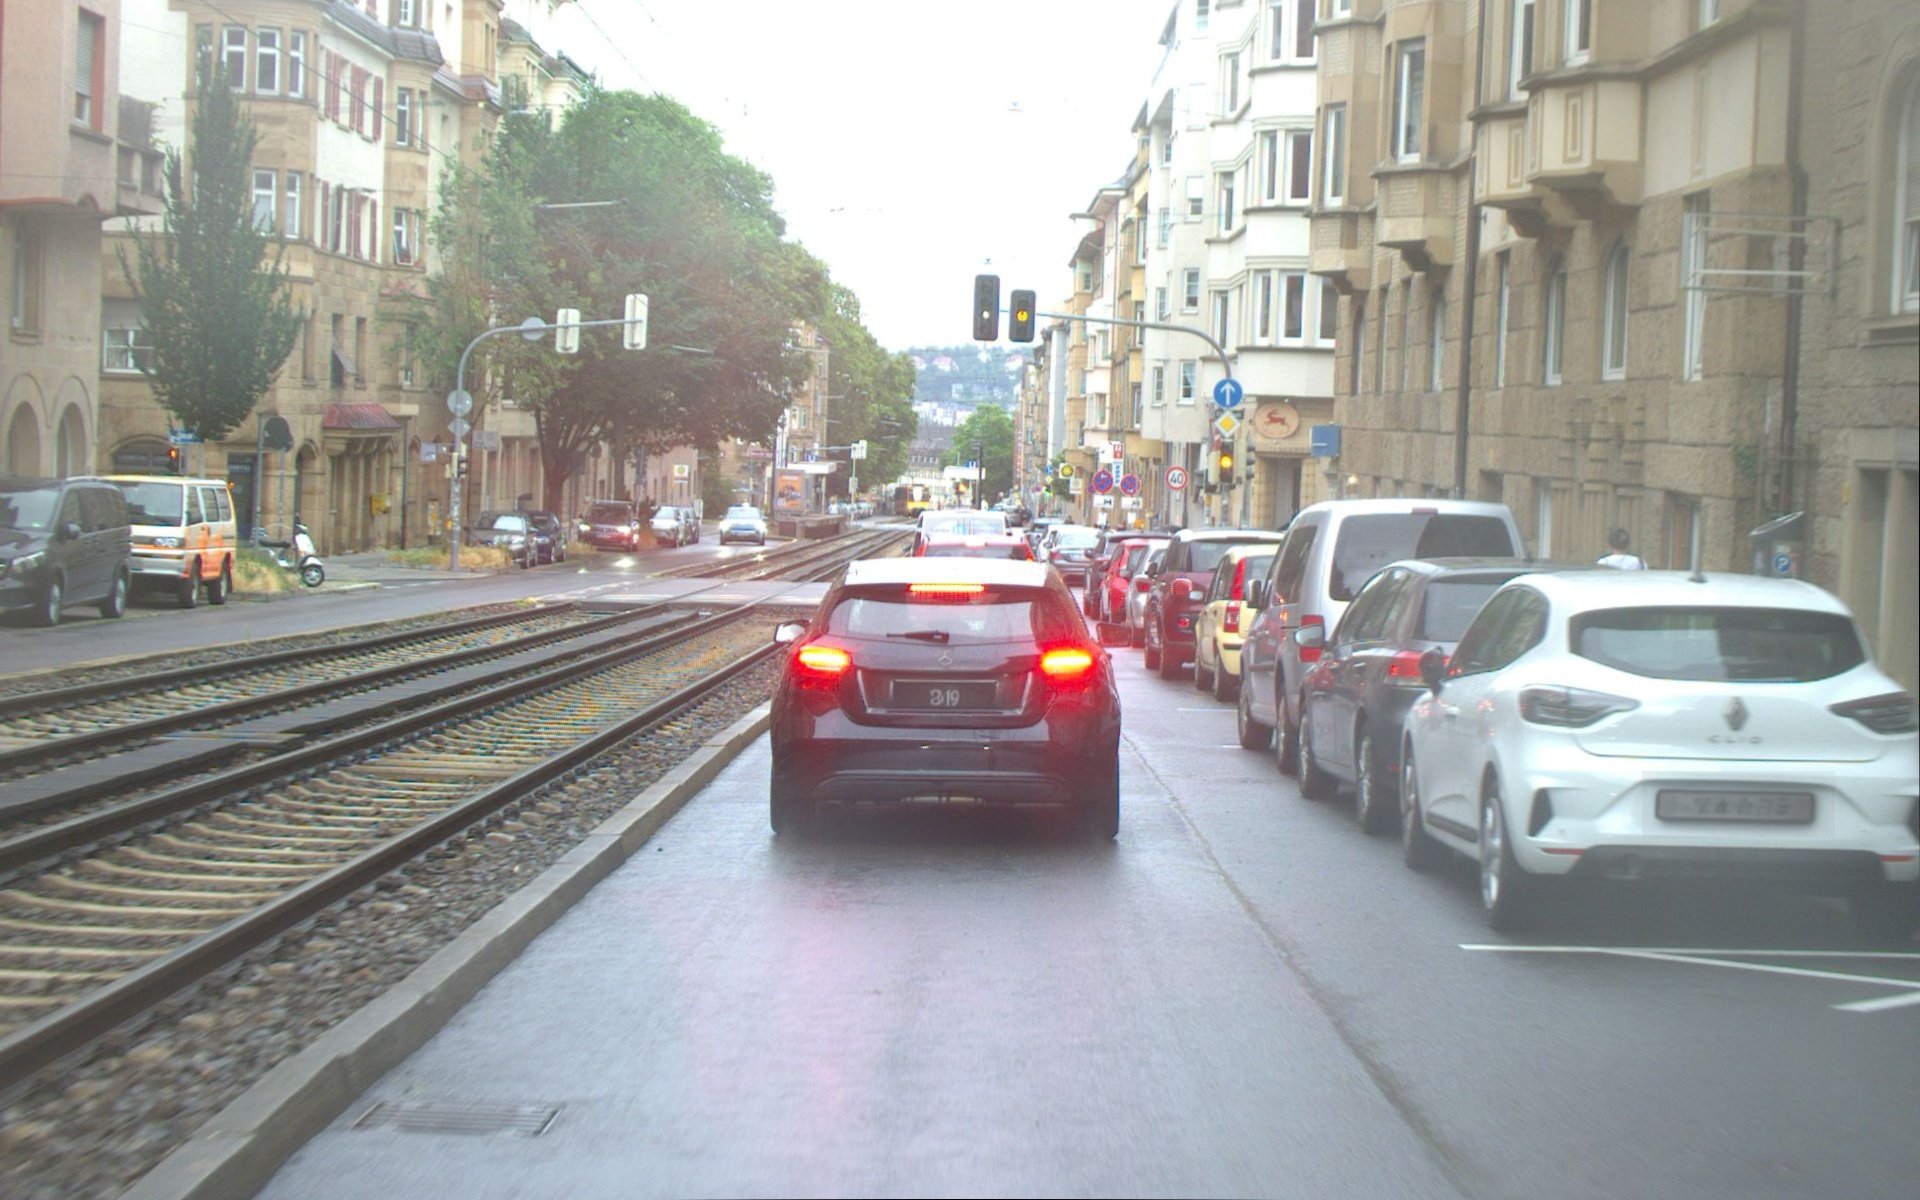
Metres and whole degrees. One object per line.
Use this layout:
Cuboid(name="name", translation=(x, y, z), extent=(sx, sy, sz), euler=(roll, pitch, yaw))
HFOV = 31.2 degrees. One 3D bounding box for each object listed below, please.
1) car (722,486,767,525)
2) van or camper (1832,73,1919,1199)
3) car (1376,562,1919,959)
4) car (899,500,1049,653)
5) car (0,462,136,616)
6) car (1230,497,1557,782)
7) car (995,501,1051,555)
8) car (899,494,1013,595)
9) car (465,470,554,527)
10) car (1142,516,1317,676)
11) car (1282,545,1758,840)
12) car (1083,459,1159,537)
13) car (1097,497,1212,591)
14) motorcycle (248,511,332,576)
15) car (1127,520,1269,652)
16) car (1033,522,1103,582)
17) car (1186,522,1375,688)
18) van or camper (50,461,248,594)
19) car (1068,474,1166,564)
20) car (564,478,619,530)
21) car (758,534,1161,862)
Cuboid(name="car", translation=(-8.993, -3.945, 143.523), extent=(1.795, 1.543, 4.001), euler=(-1, 2, -3))
Cuboid(name="van or camper", translation=(2.718, 0.365, 3.638), extent=(2.064, 2.460, 6.119), euler=(1, 2, 1))
Cuboid(name="car", translation=(2.901, 0.584, 14.960), extent=(1.676, 1.406, 4.000), euler=(-1, 2, 0))
Cuboid(name="car", translation=(0.175, -0.301, 38.178), extent=(1.536, 1.505, 4.001), euler=(2, 3, 1))
Cuboid(name="car", translation=(-12.251, -0.834, 44.805), extent=(1.993, 1.895, 4.700), euler=(0, 2, -1))
Cuboid(name="car", translation=(2.951, 0.188, 24.235), extent=(1.774, 1.770, 4.361), euler=(0, 2, 1))
Cuboid(name="car", translation=(2.130, -2.445, 116.395), extent=(1.853, 1.791, 3.812), euler=(0, 1, 1))
Cuboid(name="car", translation=(-0.058, -1.022, 61.052), extent=(1.921, 1.649, 4.001), euler=(2, 2, 0))
Cuboid(name="car", translation=(-11.950, -2.693, 91.357), extent=(1.771, 1.459, 4.000), euler=(1, 2, 1))
Cuboid(name="car", translation=(3.004, -0.095, 38.979), extent=(1.710, 1.623, 4.000), euler=(2, 2, 1))
Cuboid(name="car", translation=(3.038, 0.442, 19.505), extent=(1.993, 1.436, 4.000), euler=(0, 2, -1))
Cuboid(name="car", translation=(4.302, -2.723, 92.380), extent=(1.898, 2.021, 4.176), euler=(0, 1, 1))
Cuboid(name="car", translation=(3.134, -0.929, 55.850), extent=(1.602, 1.414, 3.149), euler=(1, 2, -1))
Cuboid(name="motorcycle", translation=(-12.309, -1.042, 63.132), extent=(1.439, 1.130, 0.619), euler=(3, 2, 30))
Cuboid(name="car", translation=(3.122, -0.219, 45.634), extent=(1.638, 1.537, 3.466), euler=(2, 3, 1))
Cuboid(name="car", translation=(3.256, -1.457, 104.449), extent=(1.768, 1.769, 4.001), euler=(0, 1, -3))
Cuboid(name="car", translation=(3.167, 0.010, 34.493), extent=(1.559, 1.473, 3.461), euler=(2, 2, 1))
Cuboid(name="van or camper", translation=(-12.357, -1.129, 52.653), extent=(1.993, 1.895, 4.699), euler=(1, 2, -1))
Cuboid(name="car", translation=(2.765, -1.463, 61.089), extent=(1.549, 1.503, 4.000), euler=(2, 2, 1))
Cuboid(name="car", translation=(-12.554, -3.286, 117.365), extent=(1.789, 1.685, 4.001), euler=(1, 2, -5))
Cuboid(name="car", translation=(-0.024, 0.445, 18.534), extent=(1.946, 1.559, 3.643), euler=(0, 1, -1))
